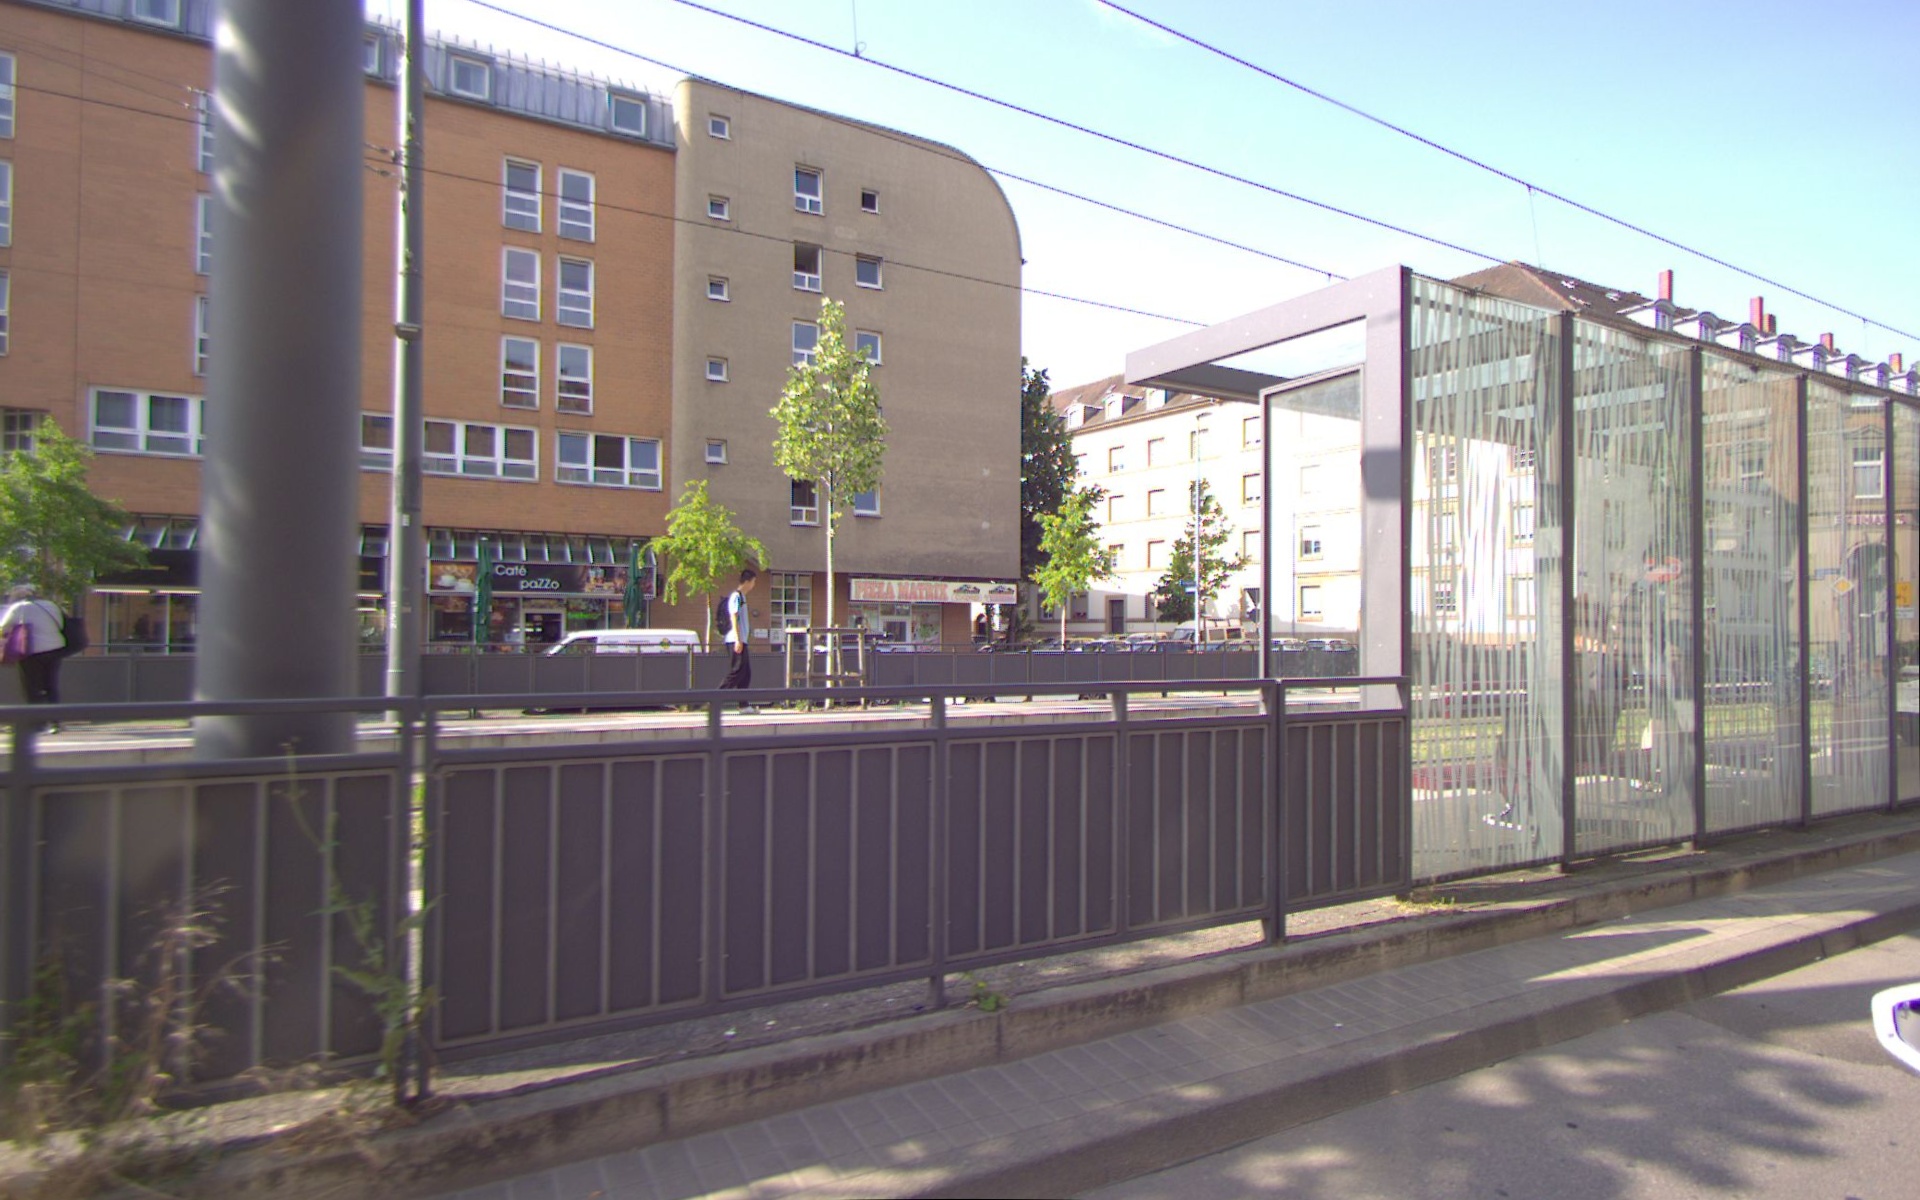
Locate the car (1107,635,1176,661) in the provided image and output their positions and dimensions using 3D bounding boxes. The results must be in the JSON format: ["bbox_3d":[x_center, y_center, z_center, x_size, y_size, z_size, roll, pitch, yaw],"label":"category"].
[{"bbox_3d":[10.463,2.735,57.828,3.855,1.434,1.663,2,-2,-34],"label":"car"}]

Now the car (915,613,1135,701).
[{"bbox_3d":[1.450,1.261,22.580,4.563,1.829,1.991,1,-2,-21],"label":"car"}]

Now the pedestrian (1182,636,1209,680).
[{"bbox_3d":[8.565,2.107,36.583,0.793,1.604,0.680,1,-2,-7],"label":"pedestrian"}]

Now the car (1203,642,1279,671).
[{"bbox_3d":[14.501,2.880,51.791,3.885,1.434,1.663,2,-2,-34],"label":"car"}]

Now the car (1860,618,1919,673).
[{"bbox_3d":[37.061,1.744,38.775,4.872,2.040,1.985,1,-2,-29],"label":"car"}]

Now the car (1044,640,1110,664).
[{"bbox_3d":[7.176,3.148,61.539,3.855,1.434,1.663,2,-2,-34],"label":"car"}]

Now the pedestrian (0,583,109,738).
[{"bbox_3d":[-9.618,0.622,10.575,0.666,1.551,0.810,-1,-2,31],"label":"pedestrian"}]

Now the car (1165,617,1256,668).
[{"bbox_3d":[13.548,2.295,54.203,5.004,2.617,1.981,2,-2,-35],"label":"car"}]

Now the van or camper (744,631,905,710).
[{"bbox_3d":[-3.662,1.840,27.094,3.944,1.994,1.925,1,-2,-24],"label":"van or camper"}]

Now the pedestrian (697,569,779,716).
[{"bbox_3d":[-2.976,0.566,13.451,0.927,1.897,0.737,1,-2,-25],"label":"pedestrian"}]

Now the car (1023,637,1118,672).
[{"bbox_3d":[5.047,2.458,45.833,3.954,1.528,1.984,1,-2,-31],"label":"car"}]

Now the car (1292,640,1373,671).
[{"bbox_3d":[17.907,2.655,48.260,3.958,1.424,1.663,2,-2,-34],"label":"car"}]

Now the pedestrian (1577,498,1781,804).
[{"bbox_3d":[5.242,0.349,7.335,1.016,2.040,0.828,2,0,-31],"label":"pedestrian"}]

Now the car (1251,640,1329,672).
[{"bbox_3d":[16.534,2.762,50.311,3.885,1.553,1.663,2,-2,-34],"label":"car"}]

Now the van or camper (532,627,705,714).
[{"bbox_3d":[-8.569,1.717,25.177,3.943,2.040,1.989,1,-2,-23],"label":"van or camper"}]

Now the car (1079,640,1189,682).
[{"bbox_3d":[7.172,2.468,41.304,4.506,1.620,1.754,1,-2,-33],"label":"car"}]
